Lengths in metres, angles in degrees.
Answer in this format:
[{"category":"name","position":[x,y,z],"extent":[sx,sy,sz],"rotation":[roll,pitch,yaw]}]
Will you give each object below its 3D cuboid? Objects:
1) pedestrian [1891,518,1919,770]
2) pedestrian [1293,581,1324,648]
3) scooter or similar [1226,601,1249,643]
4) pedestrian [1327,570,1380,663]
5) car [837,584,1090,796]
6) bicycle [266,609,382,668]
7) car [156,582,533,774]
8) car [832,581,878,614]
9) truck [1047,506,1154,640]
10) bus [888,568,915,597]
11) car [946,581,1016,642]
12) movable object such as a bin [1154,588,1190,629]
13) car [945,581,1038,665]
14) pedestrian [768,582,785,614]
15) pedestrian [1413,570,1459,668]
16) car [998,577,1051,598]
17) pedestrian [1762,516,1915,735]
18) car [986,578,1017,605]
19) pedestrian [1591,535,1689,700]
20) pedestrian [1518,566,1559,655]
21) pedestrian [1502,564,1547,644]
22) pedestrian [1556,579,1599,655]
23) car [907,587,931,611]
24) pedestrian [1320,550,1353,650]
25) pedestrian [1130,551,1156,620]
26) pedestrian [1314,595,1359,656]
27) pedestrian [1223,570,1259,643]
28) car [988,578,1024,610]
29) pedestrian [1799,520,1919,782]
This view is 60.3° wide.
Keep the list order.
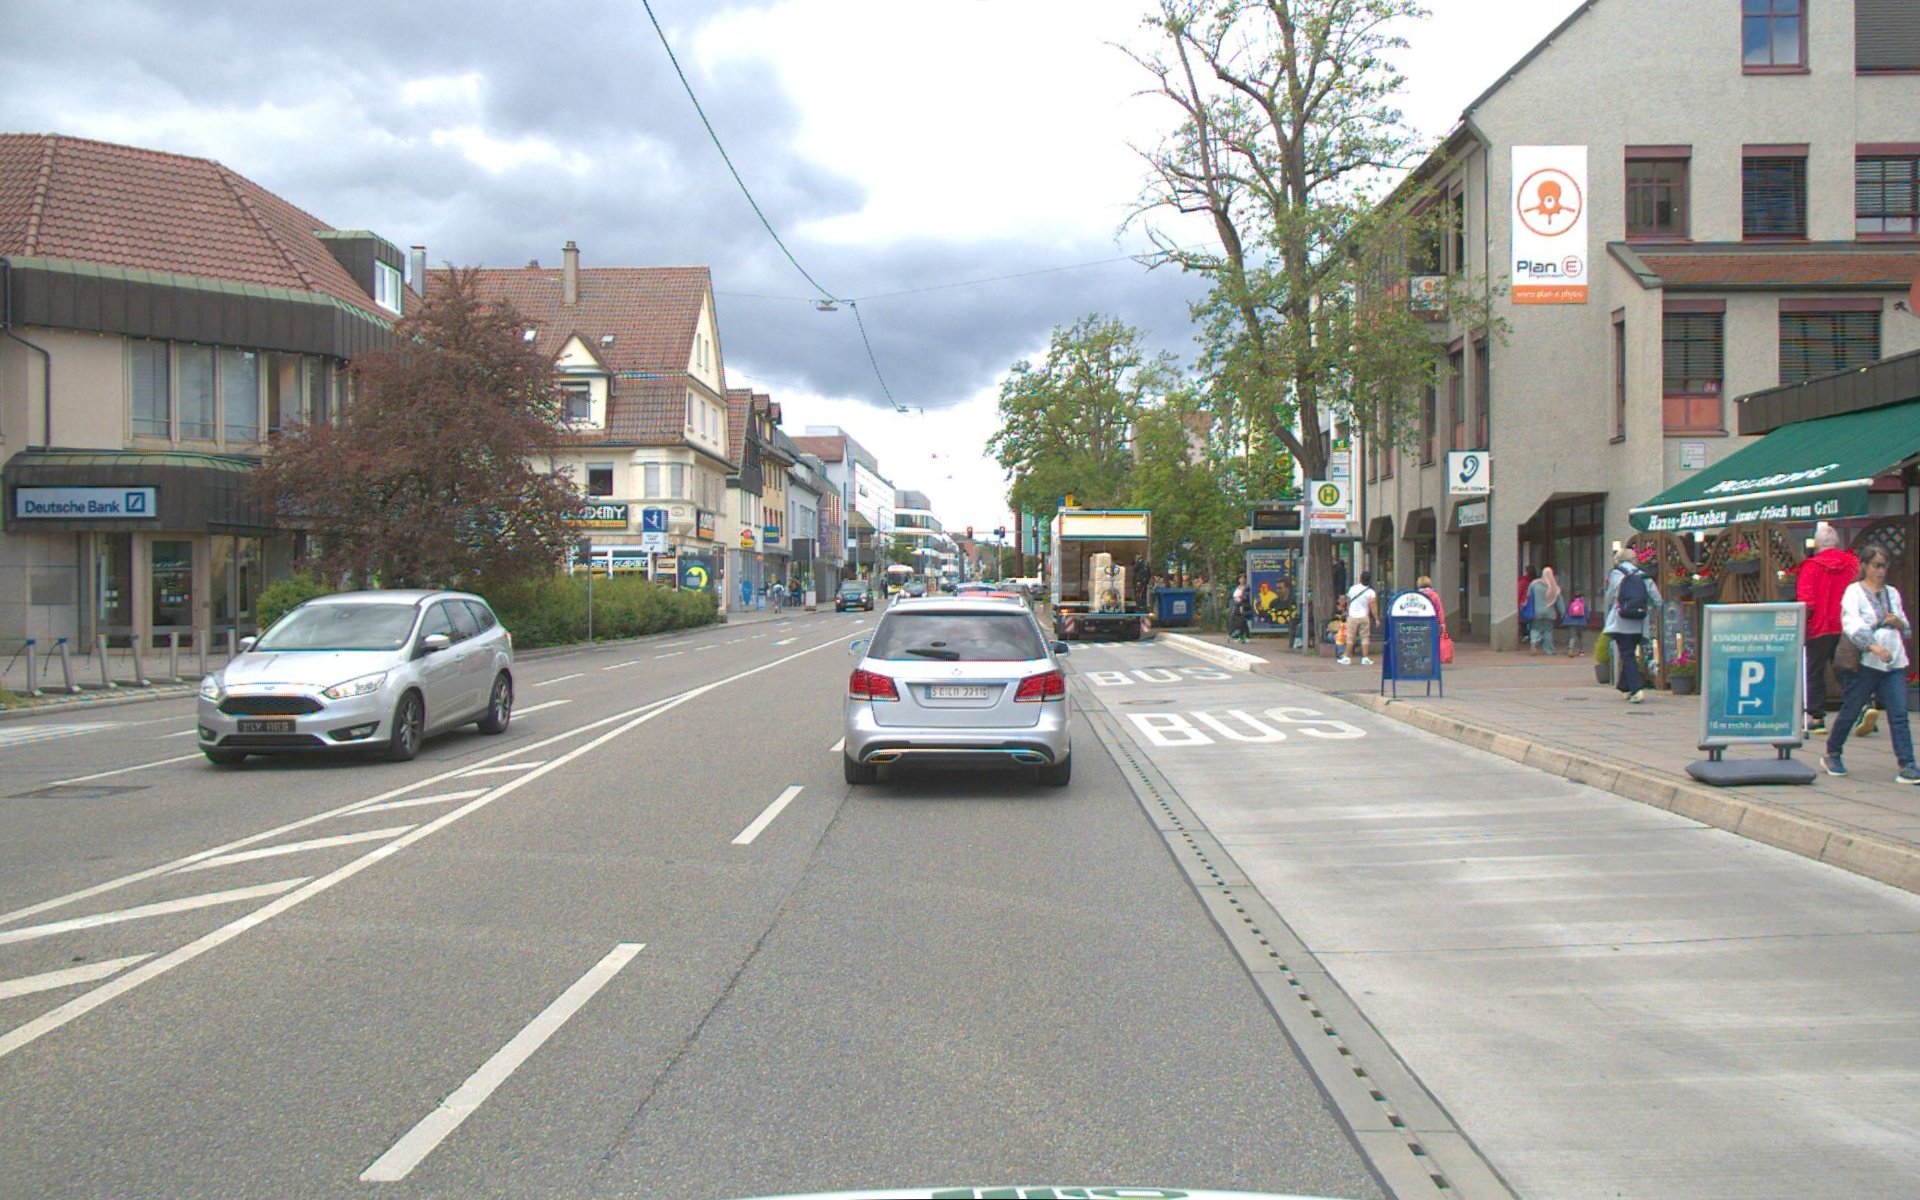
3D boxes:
[{"category":"pedestrian","position":[6.684,0.282,10.913],"extent":[0.704,1.663,0.615],"rotation":[-1,0,-1]},{"category":"pedestrian","position":[7.583,0.321,35.971],"extent":[0.600,1.425,0.588],"rotation":[-2,-1,14]},{"category":"scooter or similar","position":[6.399,0.506,38.175],"extent":[0.381,0.975,0.350],"rotation":[-1,0,-40]},{"category":"pedestrian","position":[7.132,0.282,30.004],"extent":[0.604,1.663,0.789],"rotation":[0,1,-20]},{"category":"car","position":[0.015,0.645,14.061],"extent":[1.836,1.532,4.000],"rotation":[0,0,0]},{"category":"bicycle","position":[-12.234,0.733,31.870],"extent":[1.980,1.109,0.648],"rotation":[0,0,-9]},{"category":"car","position":[-5.645,0.641,15.823],"extent":[1.835,1.532,4.344],"rotation":[-2,0,2]},{"category":"car","position":[-5.951,-0.160,94.351],"extent":[2.026,1.768,4.695],"rotation":[-2,0,3]},{"category":"truck","position":[4.079,-0.795,49.915],"extent":[2.633,3.623,9.768],"rotation":[0,1,1]},{"category":"bus","position":[-6.708,-2.016,191.084],"extent":[2.717,3.220,5.934],"rotation":[0,0,2]},{"category":"car","position":[0.648,0.293,48.479],"extent":[1.952,1.713,4.001],"rotation":[0,0,2]},{"category":"movable object such as a bin","position":[7.197,0.290,56.134],"extent":[1.119,1.363,1.376],"rotation":[-1,0,3]},{"category":"car","position":[0.646,0.424,32.835],"extent":[1.718,1.547,4.001],"rotation":[-1,0,2]},{"category":"pedestrian","position":[-9.663,-0.093,87.286],"extent":[0.800,1.663,0.979],"rotation":[2,0,-4]},{"category":"pedestrian","position":[7.936,0.307,27.565],"extent":[0.658,1.594,0.492],"rotation":[2,2,21]},{"category":"car","position":[6.554,-1.259,167.912],"extent":[5.054,1.995,1.954],"rotation":[-2,0,-23]},{"category":"pedestrian","position":[7.420,0.211,14.003],"extent":[0.779,1.772,0.781],"rotation":[-2,-1,-4]},{"category":"car","position":[2.679,-0.543,105.876],"extent":[1.952,1.713,4.001],"rotation":[0,0,2]},{"category":"pedestrian","position":[7.547,0.199,18.384],"extent":[0.669,1.772,0.781],"rotation":[-2,-1,-4]},{"category":"pedestrian","position":[10.859,0.186,31.065],"extent":[0.574,1.663,0.615],"rotation":[0,1,3]},{"category":"pedestrian","position":[11.948,0.075,35.012],"extent":[0.711,1.663,0.614],"rotation":[0,1,-7]},{"category":"pedestrian","position":[11.408,0.305,30.573],"extent":[0.574,1.399,0.615],"rotation":[0,1,3]},{"category":"car","position":[-2.770,-0.091,112.313],"extent":[1.538,1.567,2.960],"rotation":[2,0,-1]},{"category":"pedestrian","position":[7.946,-0.001,34.904],"extent":[0.600,2.082,0.588],"rotation":[-2,-1,14]},{"category":"pedestrian","position":[4.904,-0.380,44.290],"extent":[0.600,1.811,0.587],"rotation":[-1,-1,-2]},{"category":"pedestrian","position":[7.371,0.496,32.418],"extent":[0.698,1.186,0.587],"rotation":[0,1,-5]},{"category":"pedestrian","position":[6.561,0.147,38.589],"extent":[0.527,1.663,0.584],"rotation":[2,1,-23]},{"category":"car","position":[2.550,-0.353,91.681],"extent":[1.952,1.713,4.001],"rotation":[0,0,2]},{"category":"pedestrian","position":[6.002,0.324,10.898],"extent":[0.600,1.663,0.615],"rotation":[-1,0,-1]}]
